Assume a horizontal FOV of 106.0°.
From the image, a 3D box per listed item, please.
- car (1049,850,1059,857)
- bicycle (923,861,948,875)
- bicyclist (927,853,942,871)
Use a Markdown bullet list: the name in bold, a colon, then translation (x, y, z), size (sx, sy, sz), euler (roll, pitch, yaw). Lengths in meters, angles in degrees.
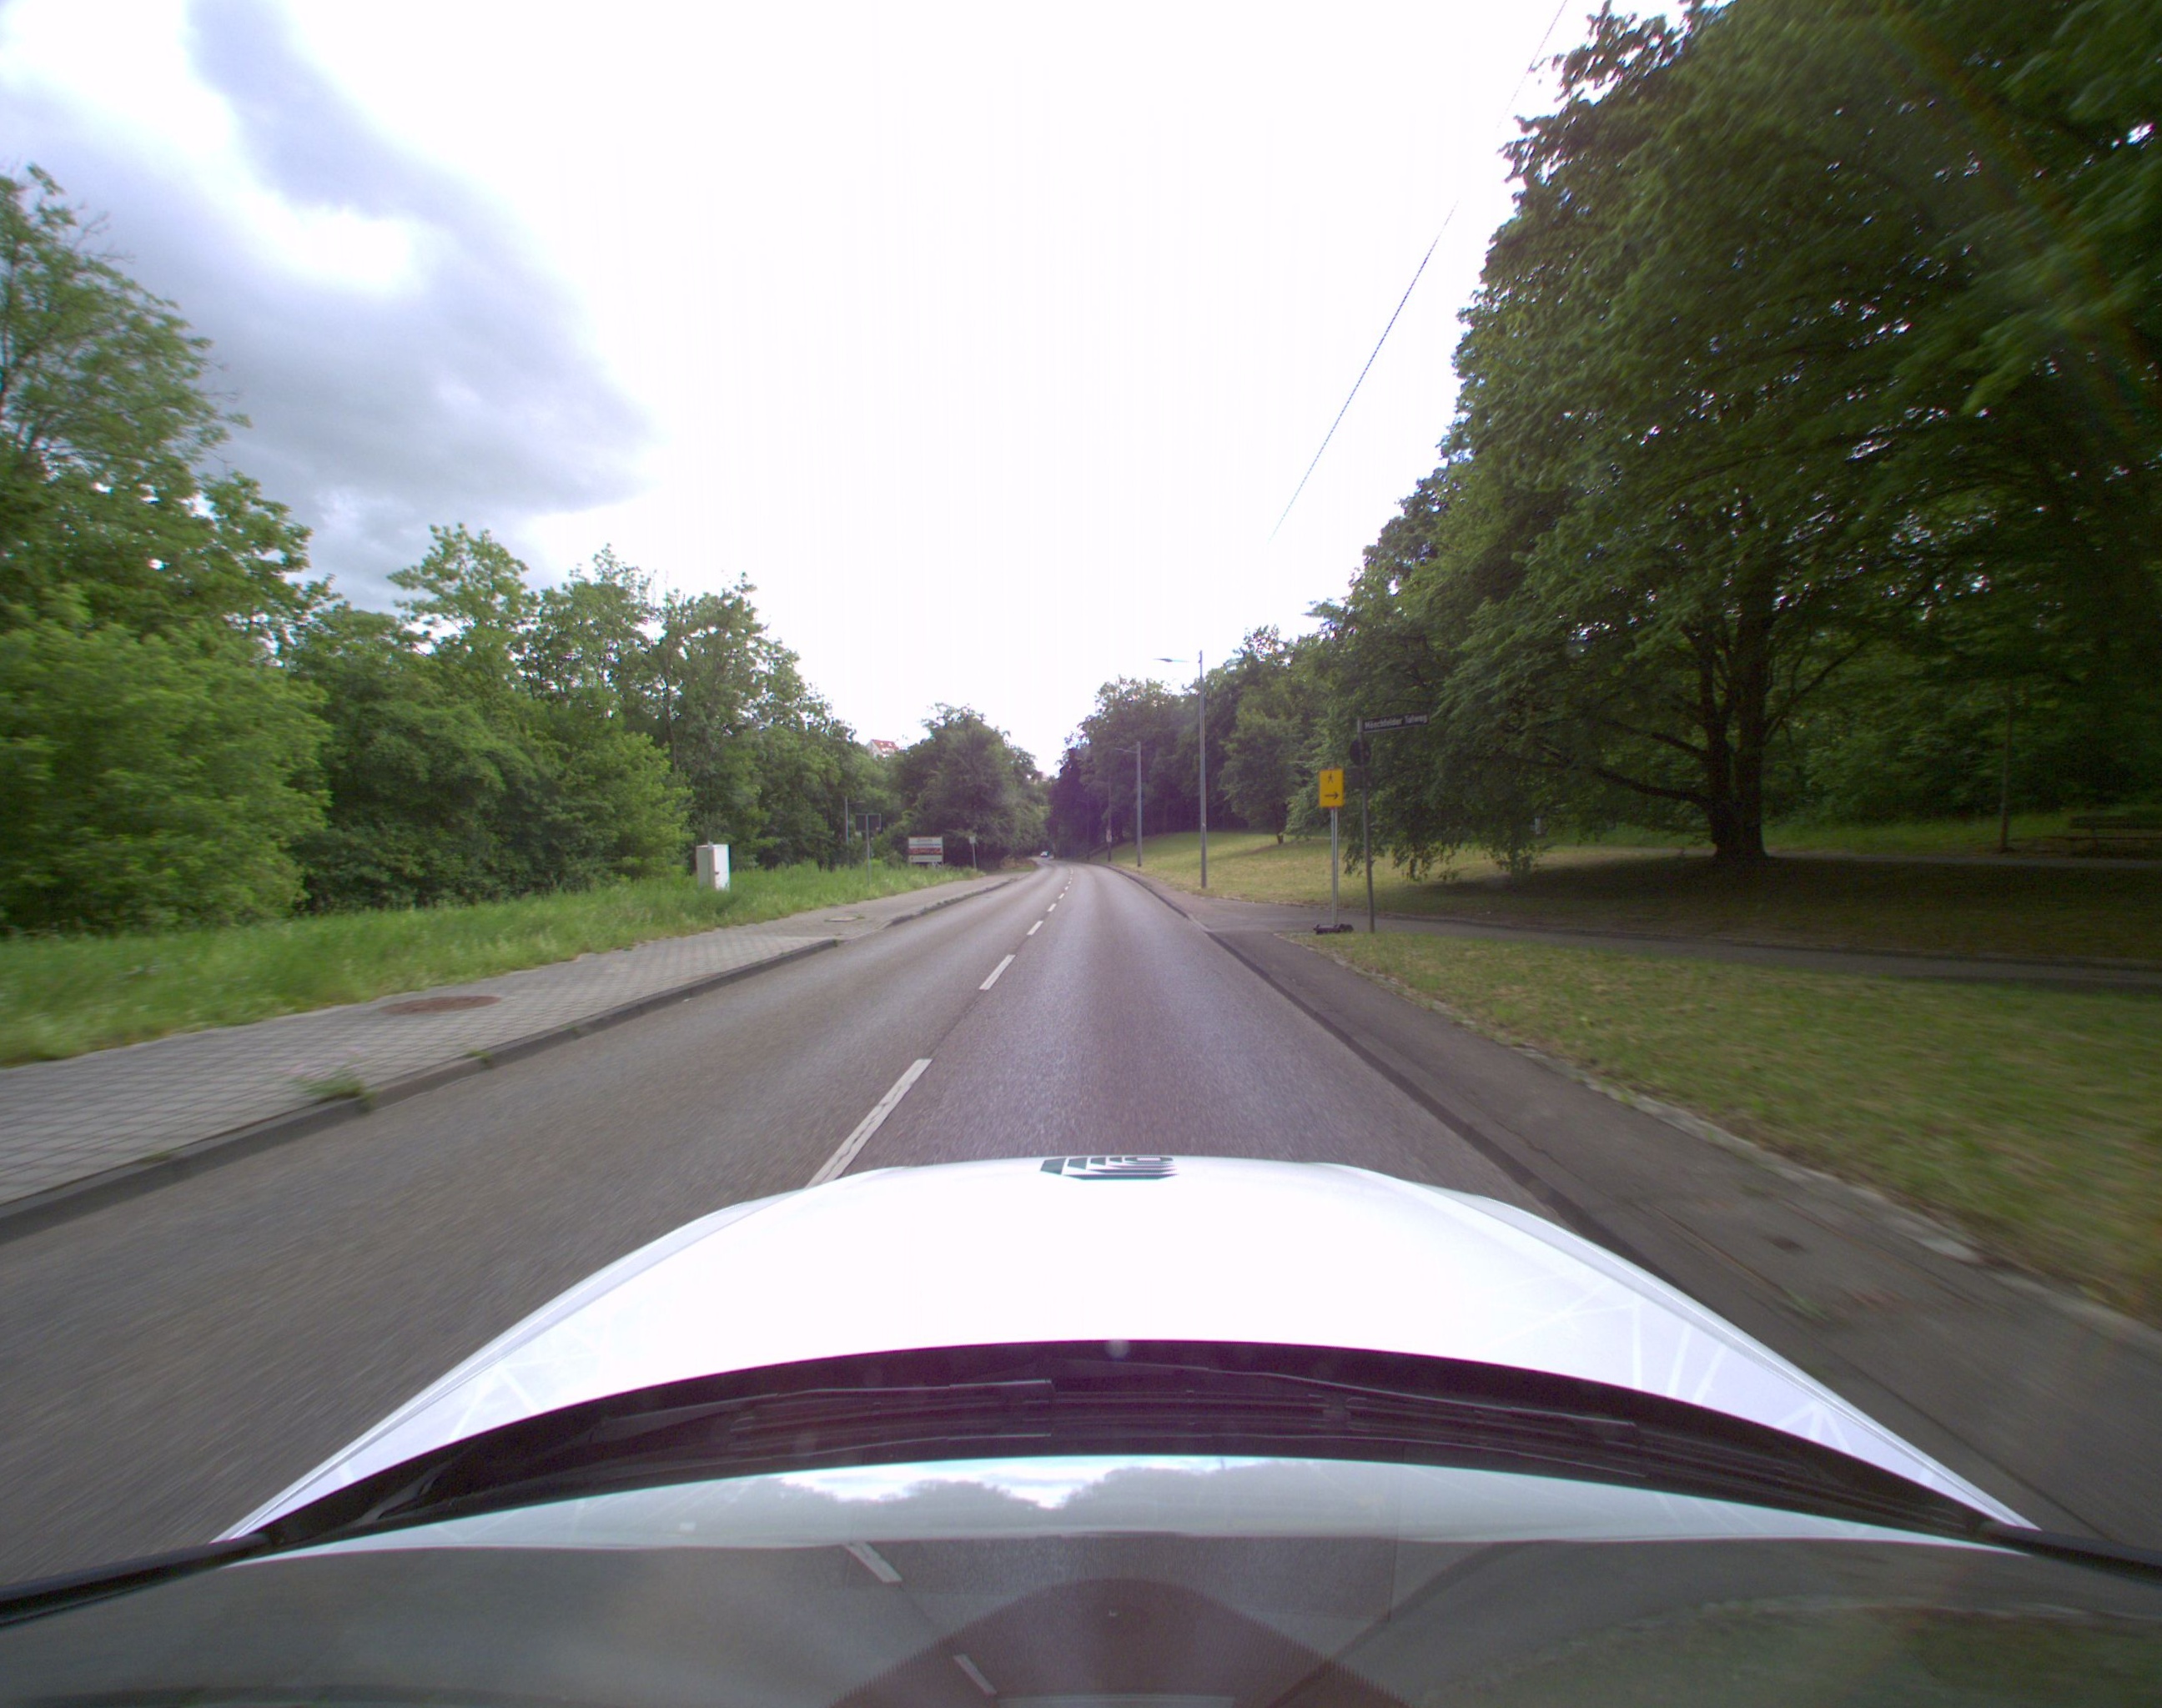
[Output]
- **car**: translation (-7.164, -0.150, 215.962), size (1.983, 2.014, 4.008), euler (0, -1, 7)
- **bicycle**: translation (-11.208, 1.050, 62.690), size (0.836, 1.036, 2.414), euler (1, -1, -40)
- **bicyclist**: translation (-11.325, 0.618, 62.824), size (0.833, 1.427, 0.772), euler (0, -1, -42)
